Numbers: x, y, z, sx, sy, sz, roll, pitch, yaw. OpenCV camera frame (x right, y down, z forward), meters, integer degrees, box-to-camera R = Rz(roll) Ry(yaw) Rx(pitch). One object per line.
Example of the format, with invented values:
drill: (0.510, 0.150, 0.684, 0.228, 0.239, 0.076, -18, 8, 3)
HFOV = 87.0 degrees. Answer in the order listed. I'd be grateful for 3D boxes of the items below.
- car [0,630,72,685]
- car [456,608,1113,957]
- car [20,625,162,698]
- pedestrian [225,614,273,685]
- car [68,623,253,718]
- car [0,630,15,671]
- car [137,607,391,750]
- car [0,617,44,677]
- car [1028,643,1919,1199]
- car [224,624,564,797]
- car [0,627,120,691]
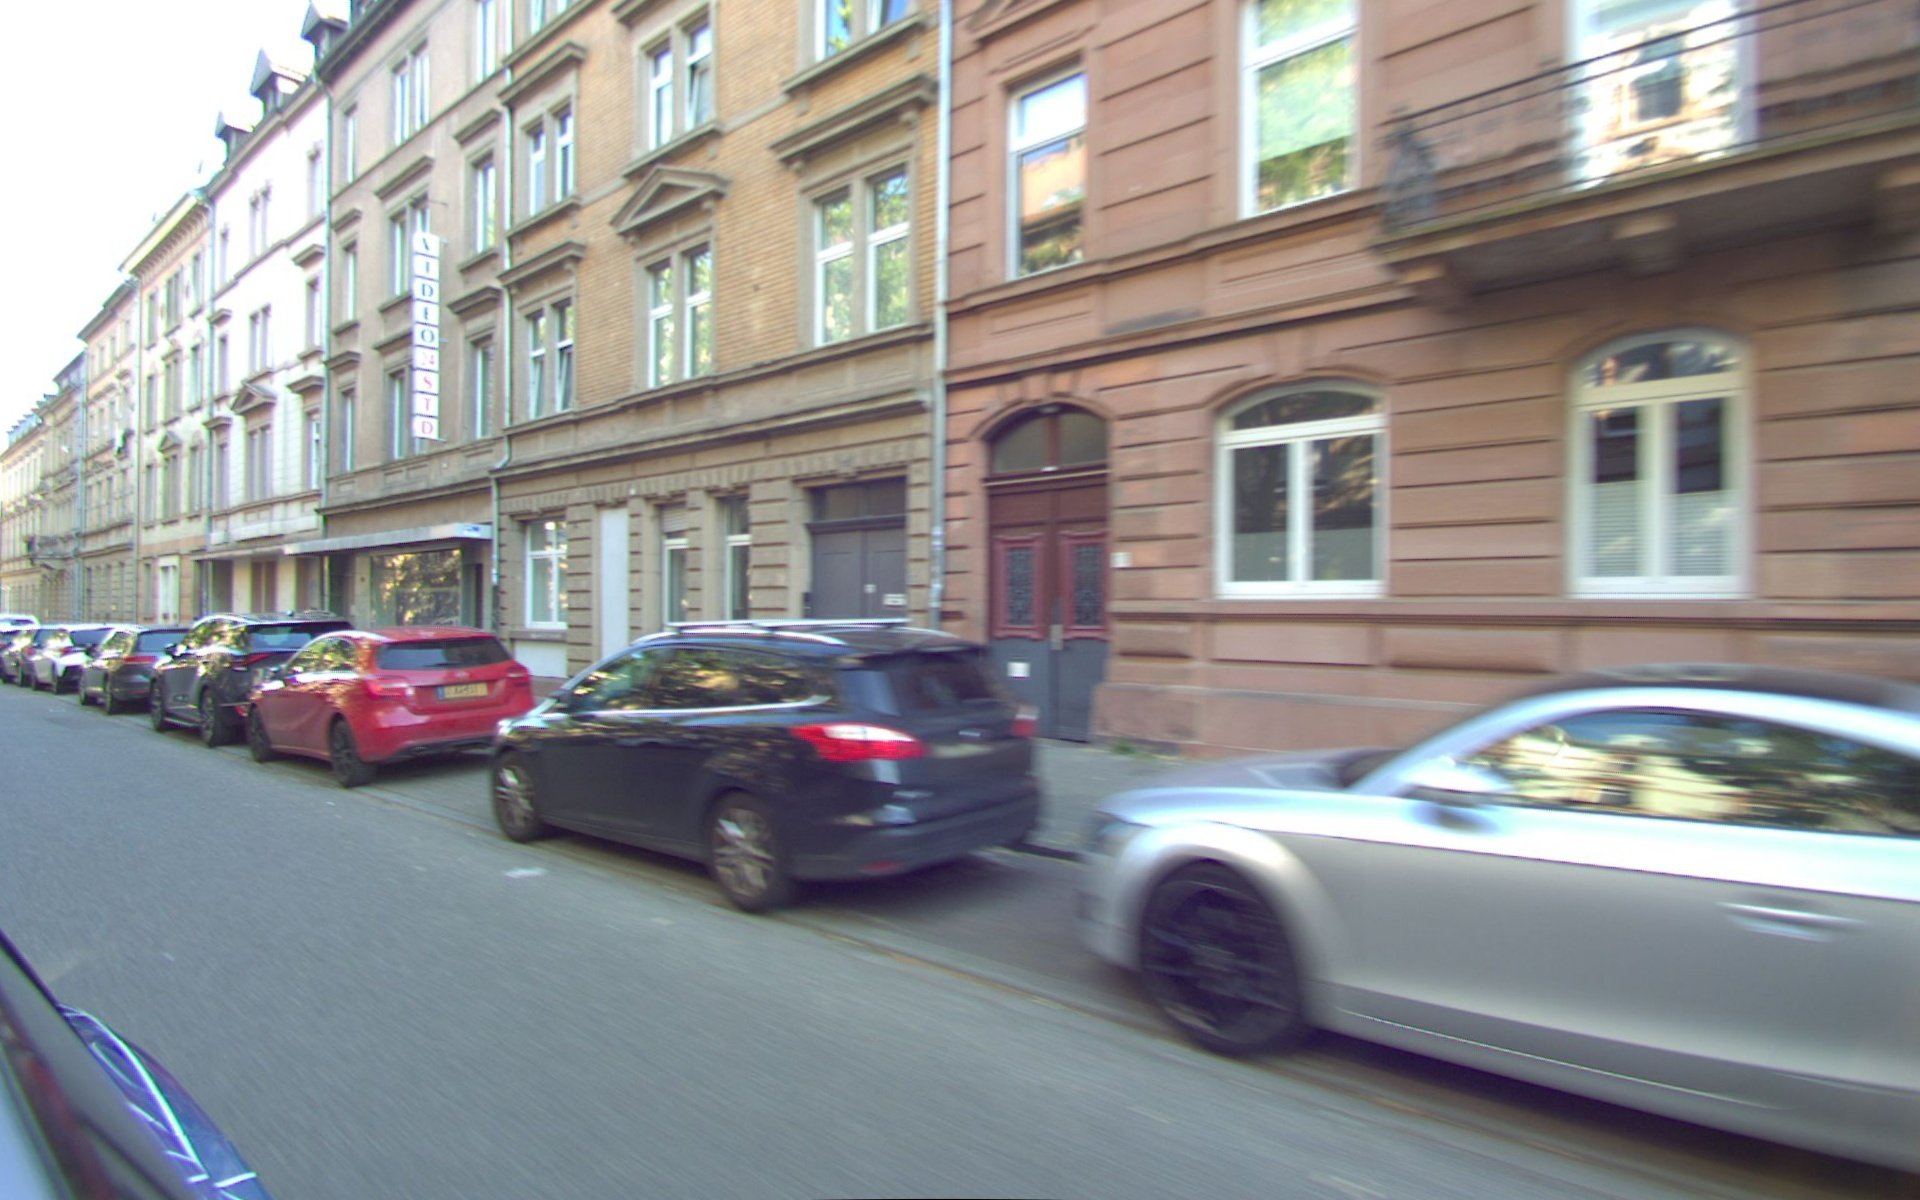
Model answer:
car: (-27.385, 1.614, 29.435, 4.241, 1.484, 1.729, -2, -2, 40)
car: (-1.387, 0.849, 6.566, 4.421, 1.488, 1.802, -2, 0, 41)
car: (-19.355, 1.308, 22.492, 4.085, 1.484, 1.739, -2, -2, 40)
pedestrian: (-17.015, 1.170, 24.215, 1.017, 1.643, 0.688, -2, -2, 40)
car: (-14.325, 1.167, 18.044, 4.487, 1.484, 1.842, -2, -2, 42)
car: (-35.083, 1.791, 36.027, 3.821, 1.432, 1.620, -2, -1, 39)
car: (-9.559, 0.954, 13.763, 4.311, 1.612, 1.802, -2, 0, 41)
car: (-31.505, 1.508, 32.979, 4.603, 1.847, 1.823, -2, -1, 40)
car: (2.355, 0.834, 3.256, 4.099, 1.333, 1.687, -2, -2, 41)
car: (-6.160, 1.008, 10.802, 4.311, 1.436, 1.802, -2, 0, 41)
car: (-22.851, 1.415, 25.428, 4.538, 1.455, 1.867, -2, -2, 39)
